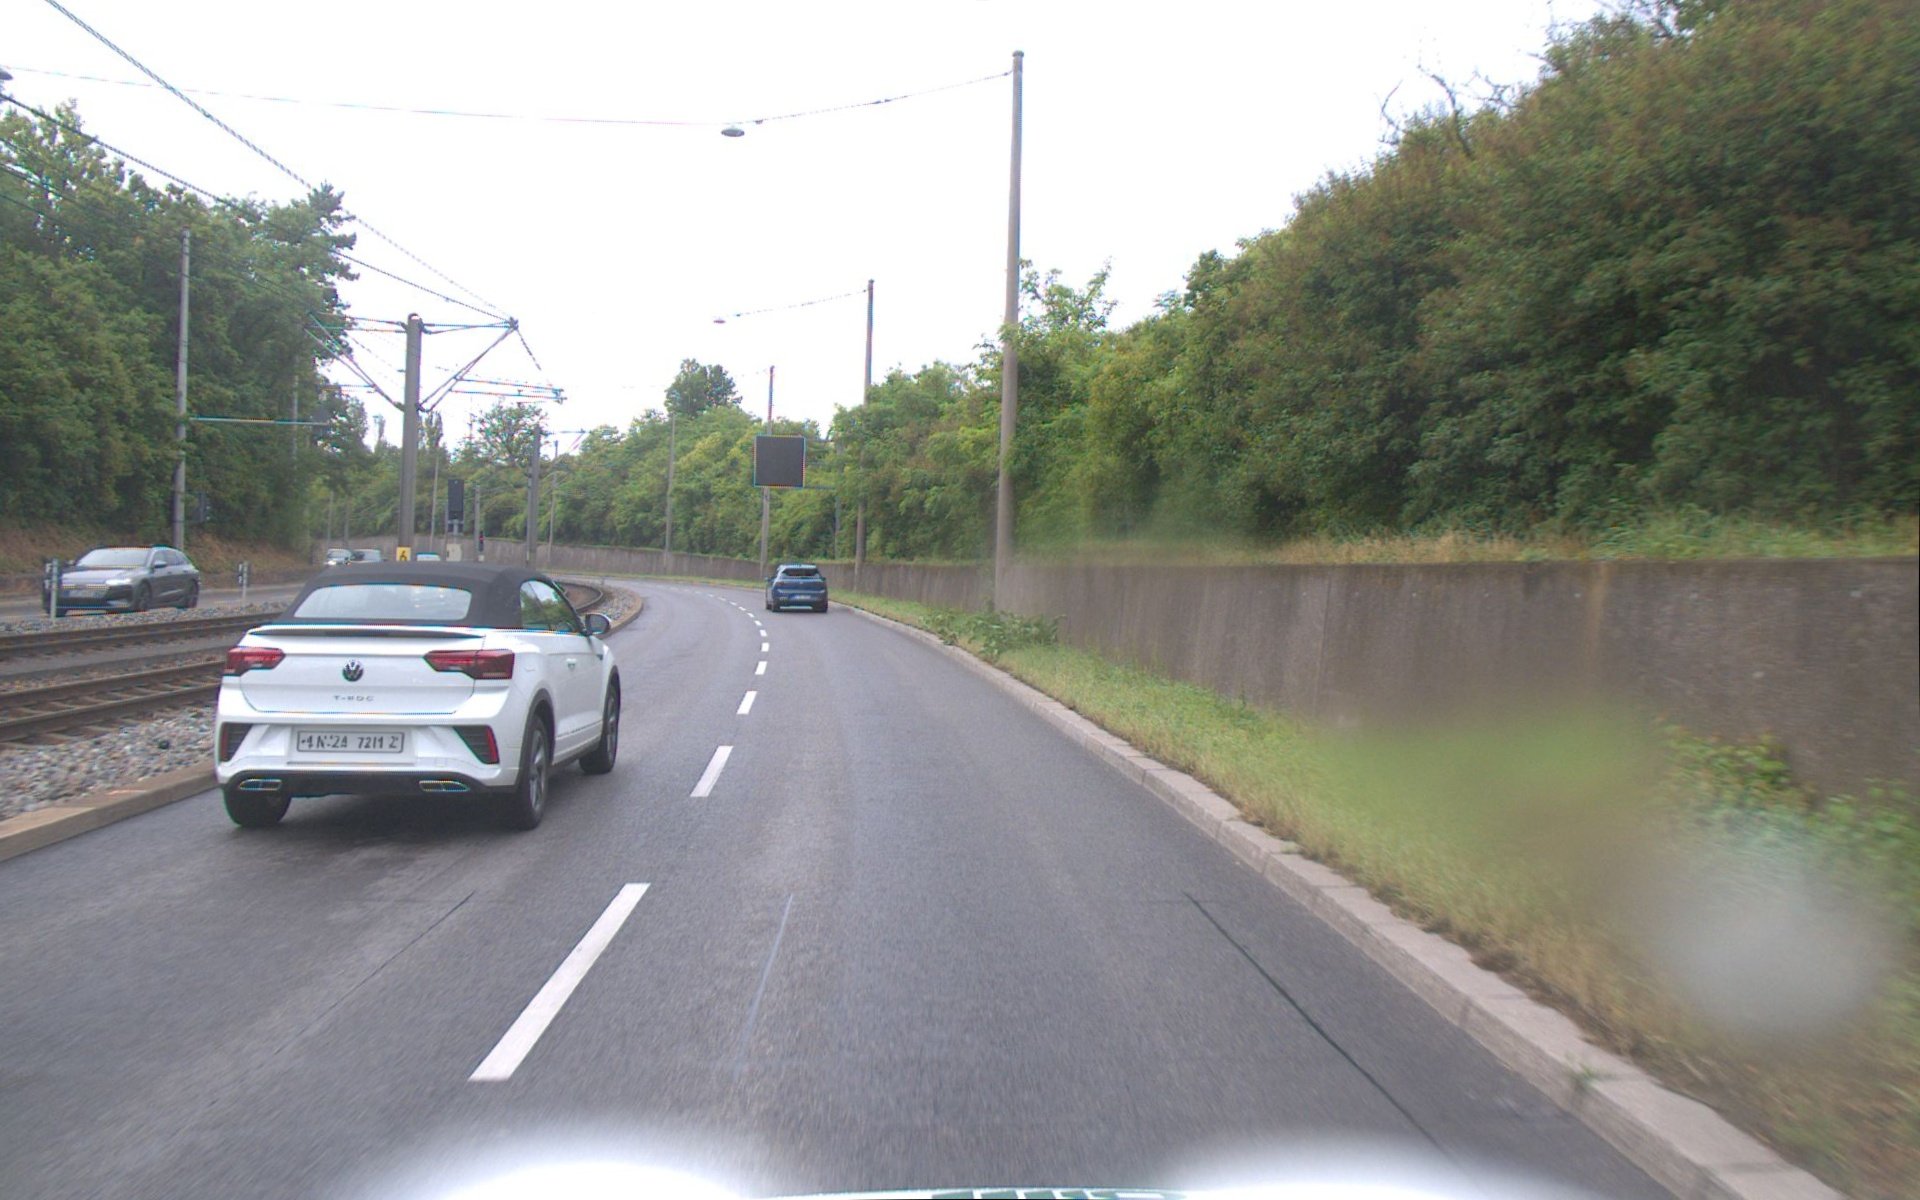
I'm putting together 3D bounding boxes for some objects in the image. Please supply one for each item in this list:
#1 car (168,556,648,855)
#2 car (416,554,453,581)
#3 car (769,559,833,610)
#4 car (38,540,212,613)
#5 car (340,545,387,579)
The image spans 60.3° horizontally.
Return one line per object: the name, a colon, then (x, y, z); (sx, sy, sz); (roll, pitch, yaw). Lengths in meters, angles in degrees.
car: (-3.325, 0.499, 10.961); (1.834, 1.550, 4.538); (1, 2, -3)
car: (-29.373, -1.813, 92.313); (1.682, 1.439, 4.006); (1, 1, -21)
car: (-5.089, -0.509, 52.517); (1.731, 1.527, 3.992); (2, 1, -9)
car: (-18.132, -0.542, 36.172); (1.826, 1.463, 4.848); (-1, 1, -7)
car: (-30.801, -1.974, 85.349); (1.763, 1.698, 4.699); (1, 1, -27)
